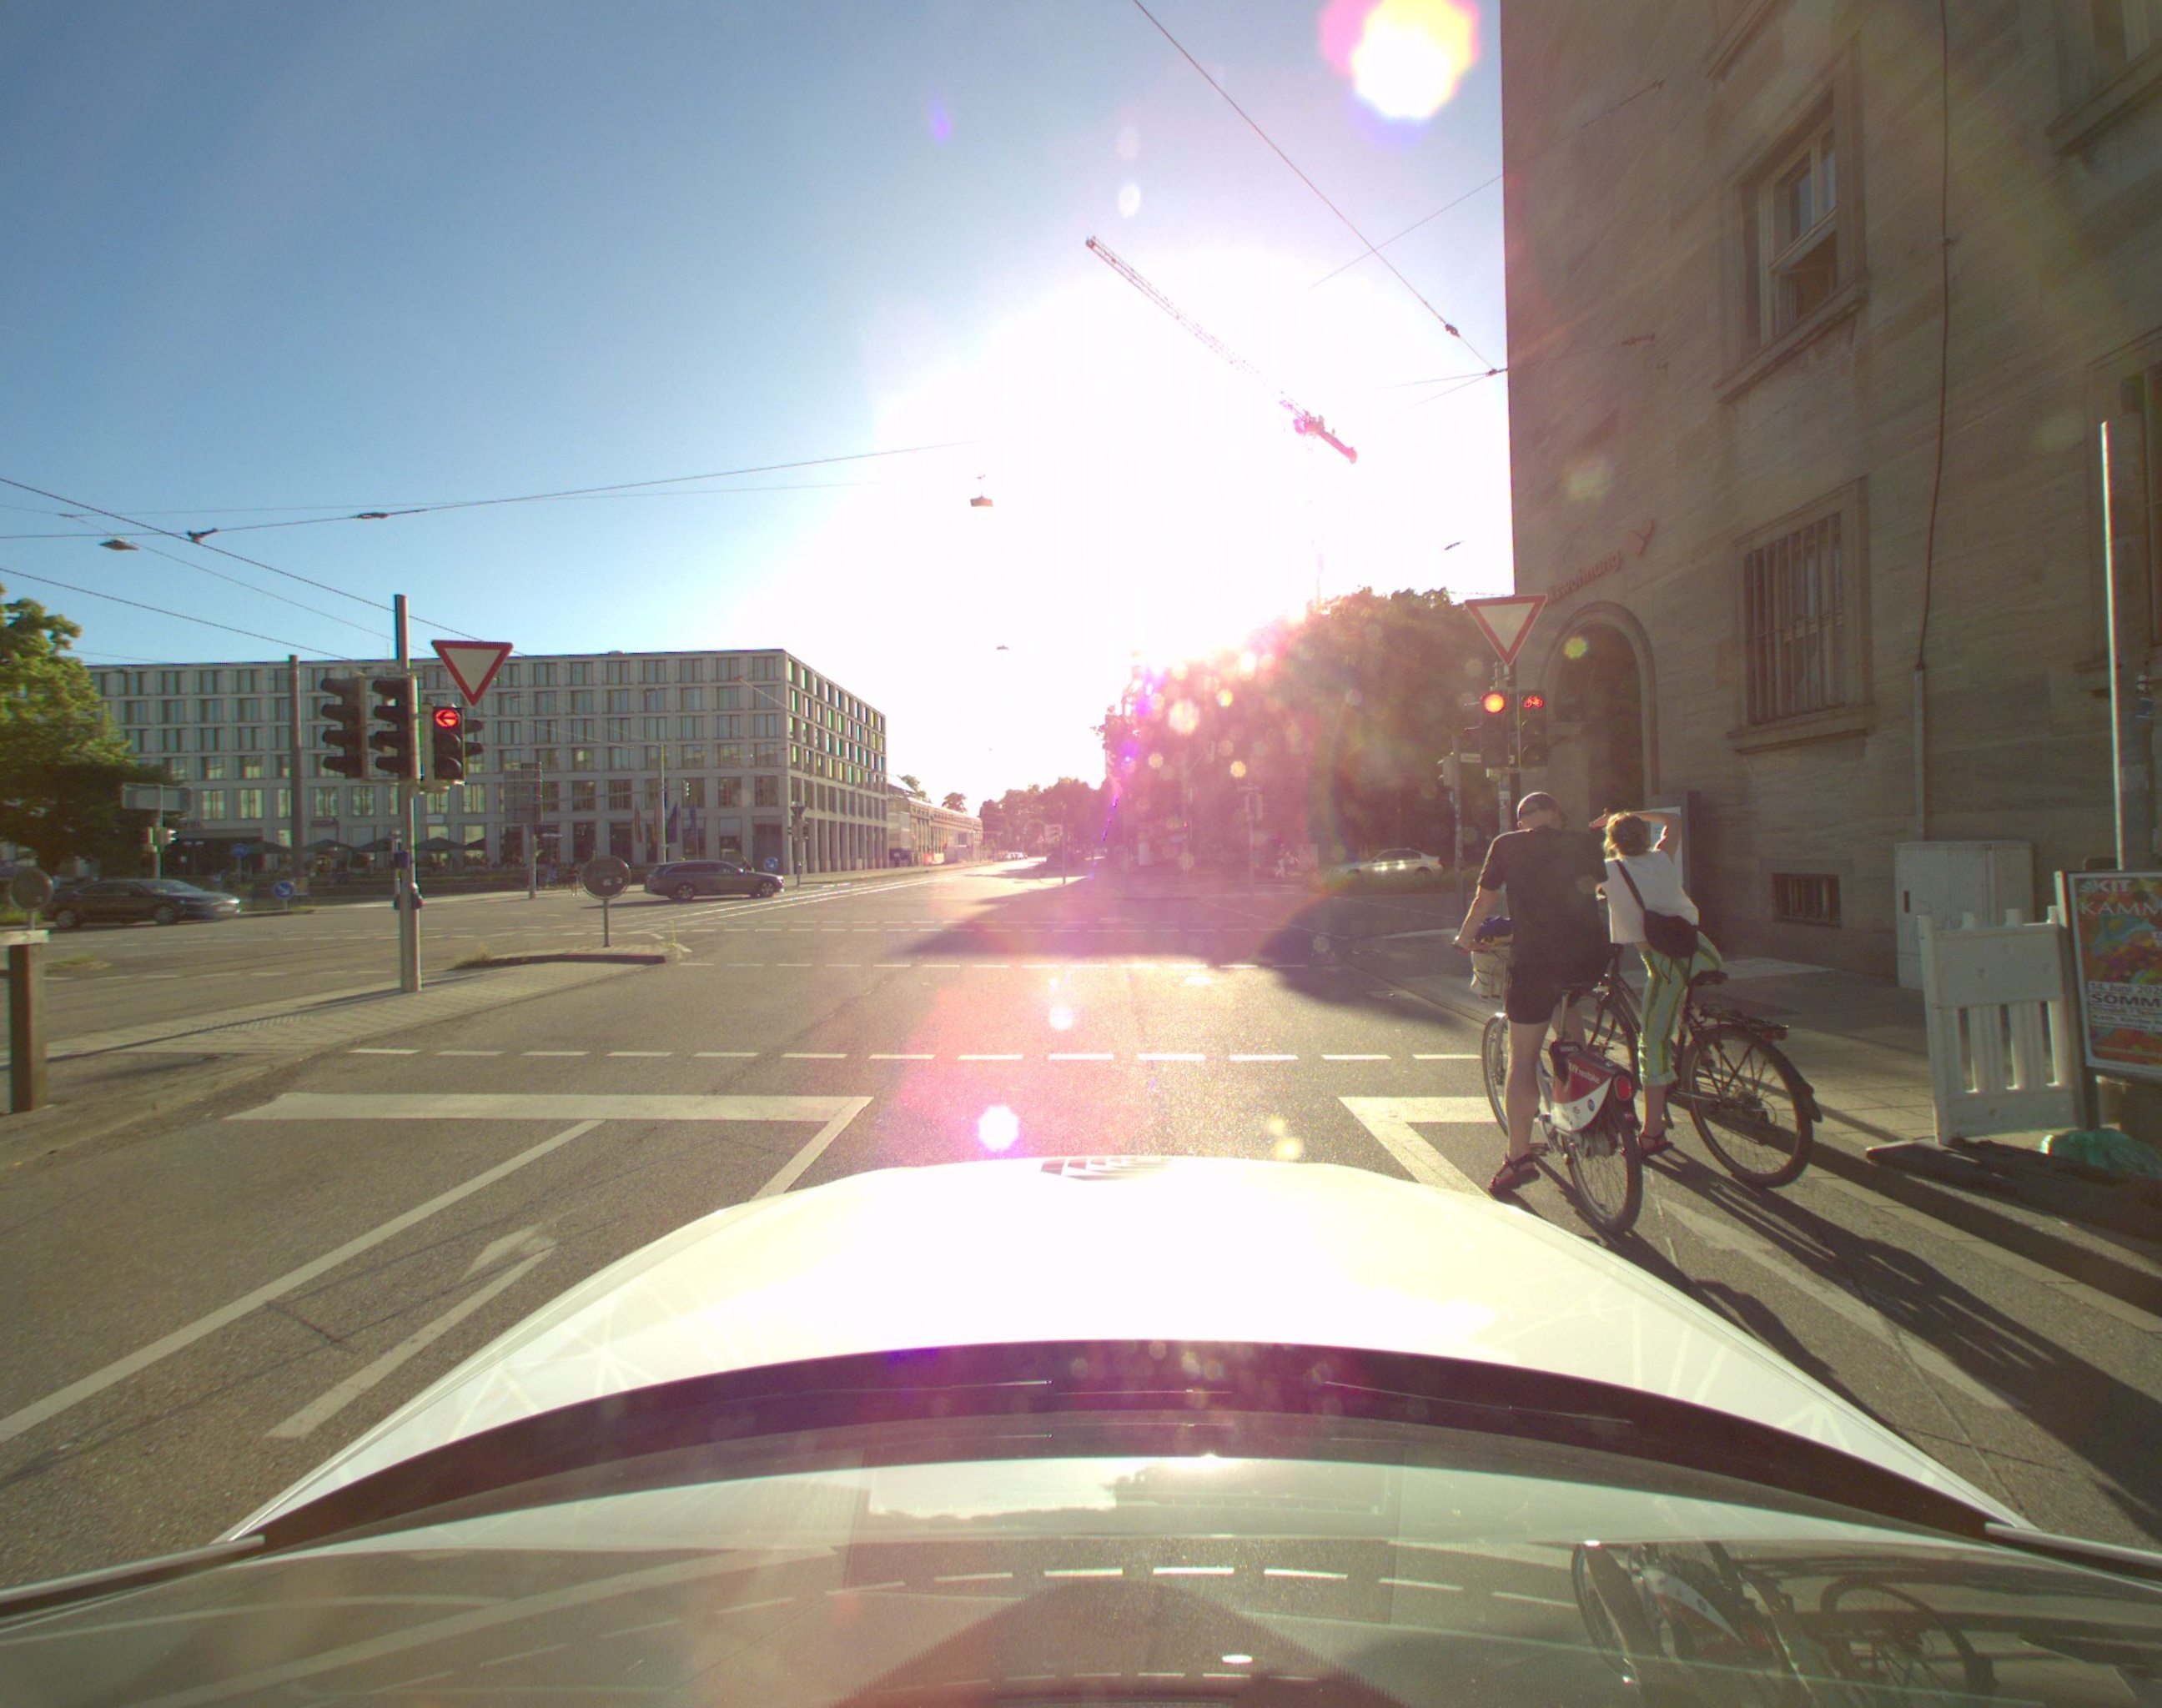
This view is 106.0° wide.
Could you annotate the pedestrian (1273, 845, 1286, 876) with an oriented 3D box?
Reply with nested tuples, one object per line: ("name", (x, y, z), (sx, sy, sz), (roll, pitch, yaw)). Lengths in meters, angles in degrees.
("pedestrian", (10.725, 0.367, 44.024), (0.580, 1.663, 0.515), (0, 1, 4))

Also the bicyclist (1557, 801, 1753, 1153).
("bicyclist", (2.957, 0.592, 4.249), (0.556, 1.691, 0.640), (-1, 0, 0))

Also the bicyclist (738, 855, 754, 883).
("bicyclist", (-19.781, 0.891, 48.117), (0.778, 1.589, 0.756), (-2, 0, -20))

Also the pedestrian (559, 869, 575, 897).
("pedestrian", (-29.102, 1.633, 46.130), (0.591, 1.589, 0.772), (-2, 0, -21))

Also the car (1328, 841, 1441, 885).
("car", (12.351, 0.355, 33.258), (3.979, 1.611, 1.650), (-2, 0, 1))

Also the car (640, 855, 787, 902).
("car", (-14.054, 0.908, 31.300), (4.830, 1.565, 1.877), (-2, 0, -37))

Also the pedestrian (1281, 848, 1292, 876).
("pedestrian", (11.213, 0.415, 44.405), (0.437, 1.503, 0.437), (-2, 0, 3))

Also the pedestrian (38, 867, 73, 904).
("pedestrian", (-56.811, 1.712, 45.130), (0.842, 2.014, 0.822), (0, -1, -8))

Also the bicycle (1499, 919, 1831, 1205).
("bicycle", (2.946, 0.959, 4.356), (0.532, 1.077, 1.751), (-1, 0, 1))

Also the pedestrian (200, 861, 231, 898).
("pedestrian", (-48.586, 1.431, 45.716), (0.837, 2.014, 0.827), (-1, -1, 11))

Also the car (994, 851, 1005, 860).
("car", (-15.659, 0.265, 157.076), (1.688, 1.718, 4.245), (0, -1, -1))

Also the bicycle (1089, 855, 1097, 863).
("bicycle", (1.533, 0.658, 106.951), (0.576, 1.077, 1.822), (-2, 0, -14))

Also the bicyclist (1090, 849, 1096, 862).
("bicyclist", (1.521, 0.147, 106.990), (0.570, 1.691, 0.696), (-2, 0, -14))

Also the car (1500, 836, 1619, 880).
("car", (19.307, 0.157, 32.979), (3.835, 1.611, 1.650), (-2, 0, 1))

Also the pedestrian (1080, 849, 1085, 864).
("pedestrian", (0.201, 0.344, 98.472), (0.462, 1.813, 0.502), (-2, 0, -3))

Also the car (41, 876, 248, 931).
("car", (-29.267, 1.528, 25.560), (4.405, 1.455, 1.664), (-2, 0, -2))

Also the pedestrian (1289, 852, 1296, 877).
("pedestrian", (11.259, 0.544, 43.301), (0.316, 1.316, 0.345), (0, 1, 4))

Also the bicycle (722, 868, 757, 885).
("bicycle", (-20.105, 1.311, 48.024), (1.865, 0.935, 0.757), (-2, 0, -23))

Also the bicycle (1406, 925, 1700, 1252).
("bicycle", (2.124, 0.958, 3.939), (0.513, 1.077, 1.729), (-1, 0, 4))

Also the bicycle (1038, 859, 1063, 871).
("bicycle", (-2.566, 0.907, 67.707), (1.996, 0.891, 0.655), (-4, -1, 29))

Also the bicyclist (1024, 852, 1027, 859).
("bicyclist", (-11.136, 0.241, 163.811), (0.594, 1.377, 0.637), (0, -1, 0))

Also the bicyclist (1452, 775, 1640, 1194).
("bicyclist", (2.126, 0.562, 3.782), (0.556, 1.799, 0.551), (-1, 0, 3))

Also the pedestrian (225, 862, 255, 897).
("pedestrian", (-46.429, 1.416, 44.952), (0.711, 1.900, 0.877), (-1, -1, 8))

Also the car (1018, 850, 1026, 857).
("car", (-14.228, -0.117, 195.325), (1.688, 1.718, 4.245), (0, -1, -1))

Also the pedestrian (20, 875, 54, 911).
("pedestrian", (-56.630, 2.092, 44.179), (0.715, 1.900, 0.872), (0, -1, -8))

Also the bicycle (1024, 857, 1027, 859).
("bicycle", (-11.126, 0.800, 163.815), (0.499, 0.515, 1.258), (0, -1, 1))
